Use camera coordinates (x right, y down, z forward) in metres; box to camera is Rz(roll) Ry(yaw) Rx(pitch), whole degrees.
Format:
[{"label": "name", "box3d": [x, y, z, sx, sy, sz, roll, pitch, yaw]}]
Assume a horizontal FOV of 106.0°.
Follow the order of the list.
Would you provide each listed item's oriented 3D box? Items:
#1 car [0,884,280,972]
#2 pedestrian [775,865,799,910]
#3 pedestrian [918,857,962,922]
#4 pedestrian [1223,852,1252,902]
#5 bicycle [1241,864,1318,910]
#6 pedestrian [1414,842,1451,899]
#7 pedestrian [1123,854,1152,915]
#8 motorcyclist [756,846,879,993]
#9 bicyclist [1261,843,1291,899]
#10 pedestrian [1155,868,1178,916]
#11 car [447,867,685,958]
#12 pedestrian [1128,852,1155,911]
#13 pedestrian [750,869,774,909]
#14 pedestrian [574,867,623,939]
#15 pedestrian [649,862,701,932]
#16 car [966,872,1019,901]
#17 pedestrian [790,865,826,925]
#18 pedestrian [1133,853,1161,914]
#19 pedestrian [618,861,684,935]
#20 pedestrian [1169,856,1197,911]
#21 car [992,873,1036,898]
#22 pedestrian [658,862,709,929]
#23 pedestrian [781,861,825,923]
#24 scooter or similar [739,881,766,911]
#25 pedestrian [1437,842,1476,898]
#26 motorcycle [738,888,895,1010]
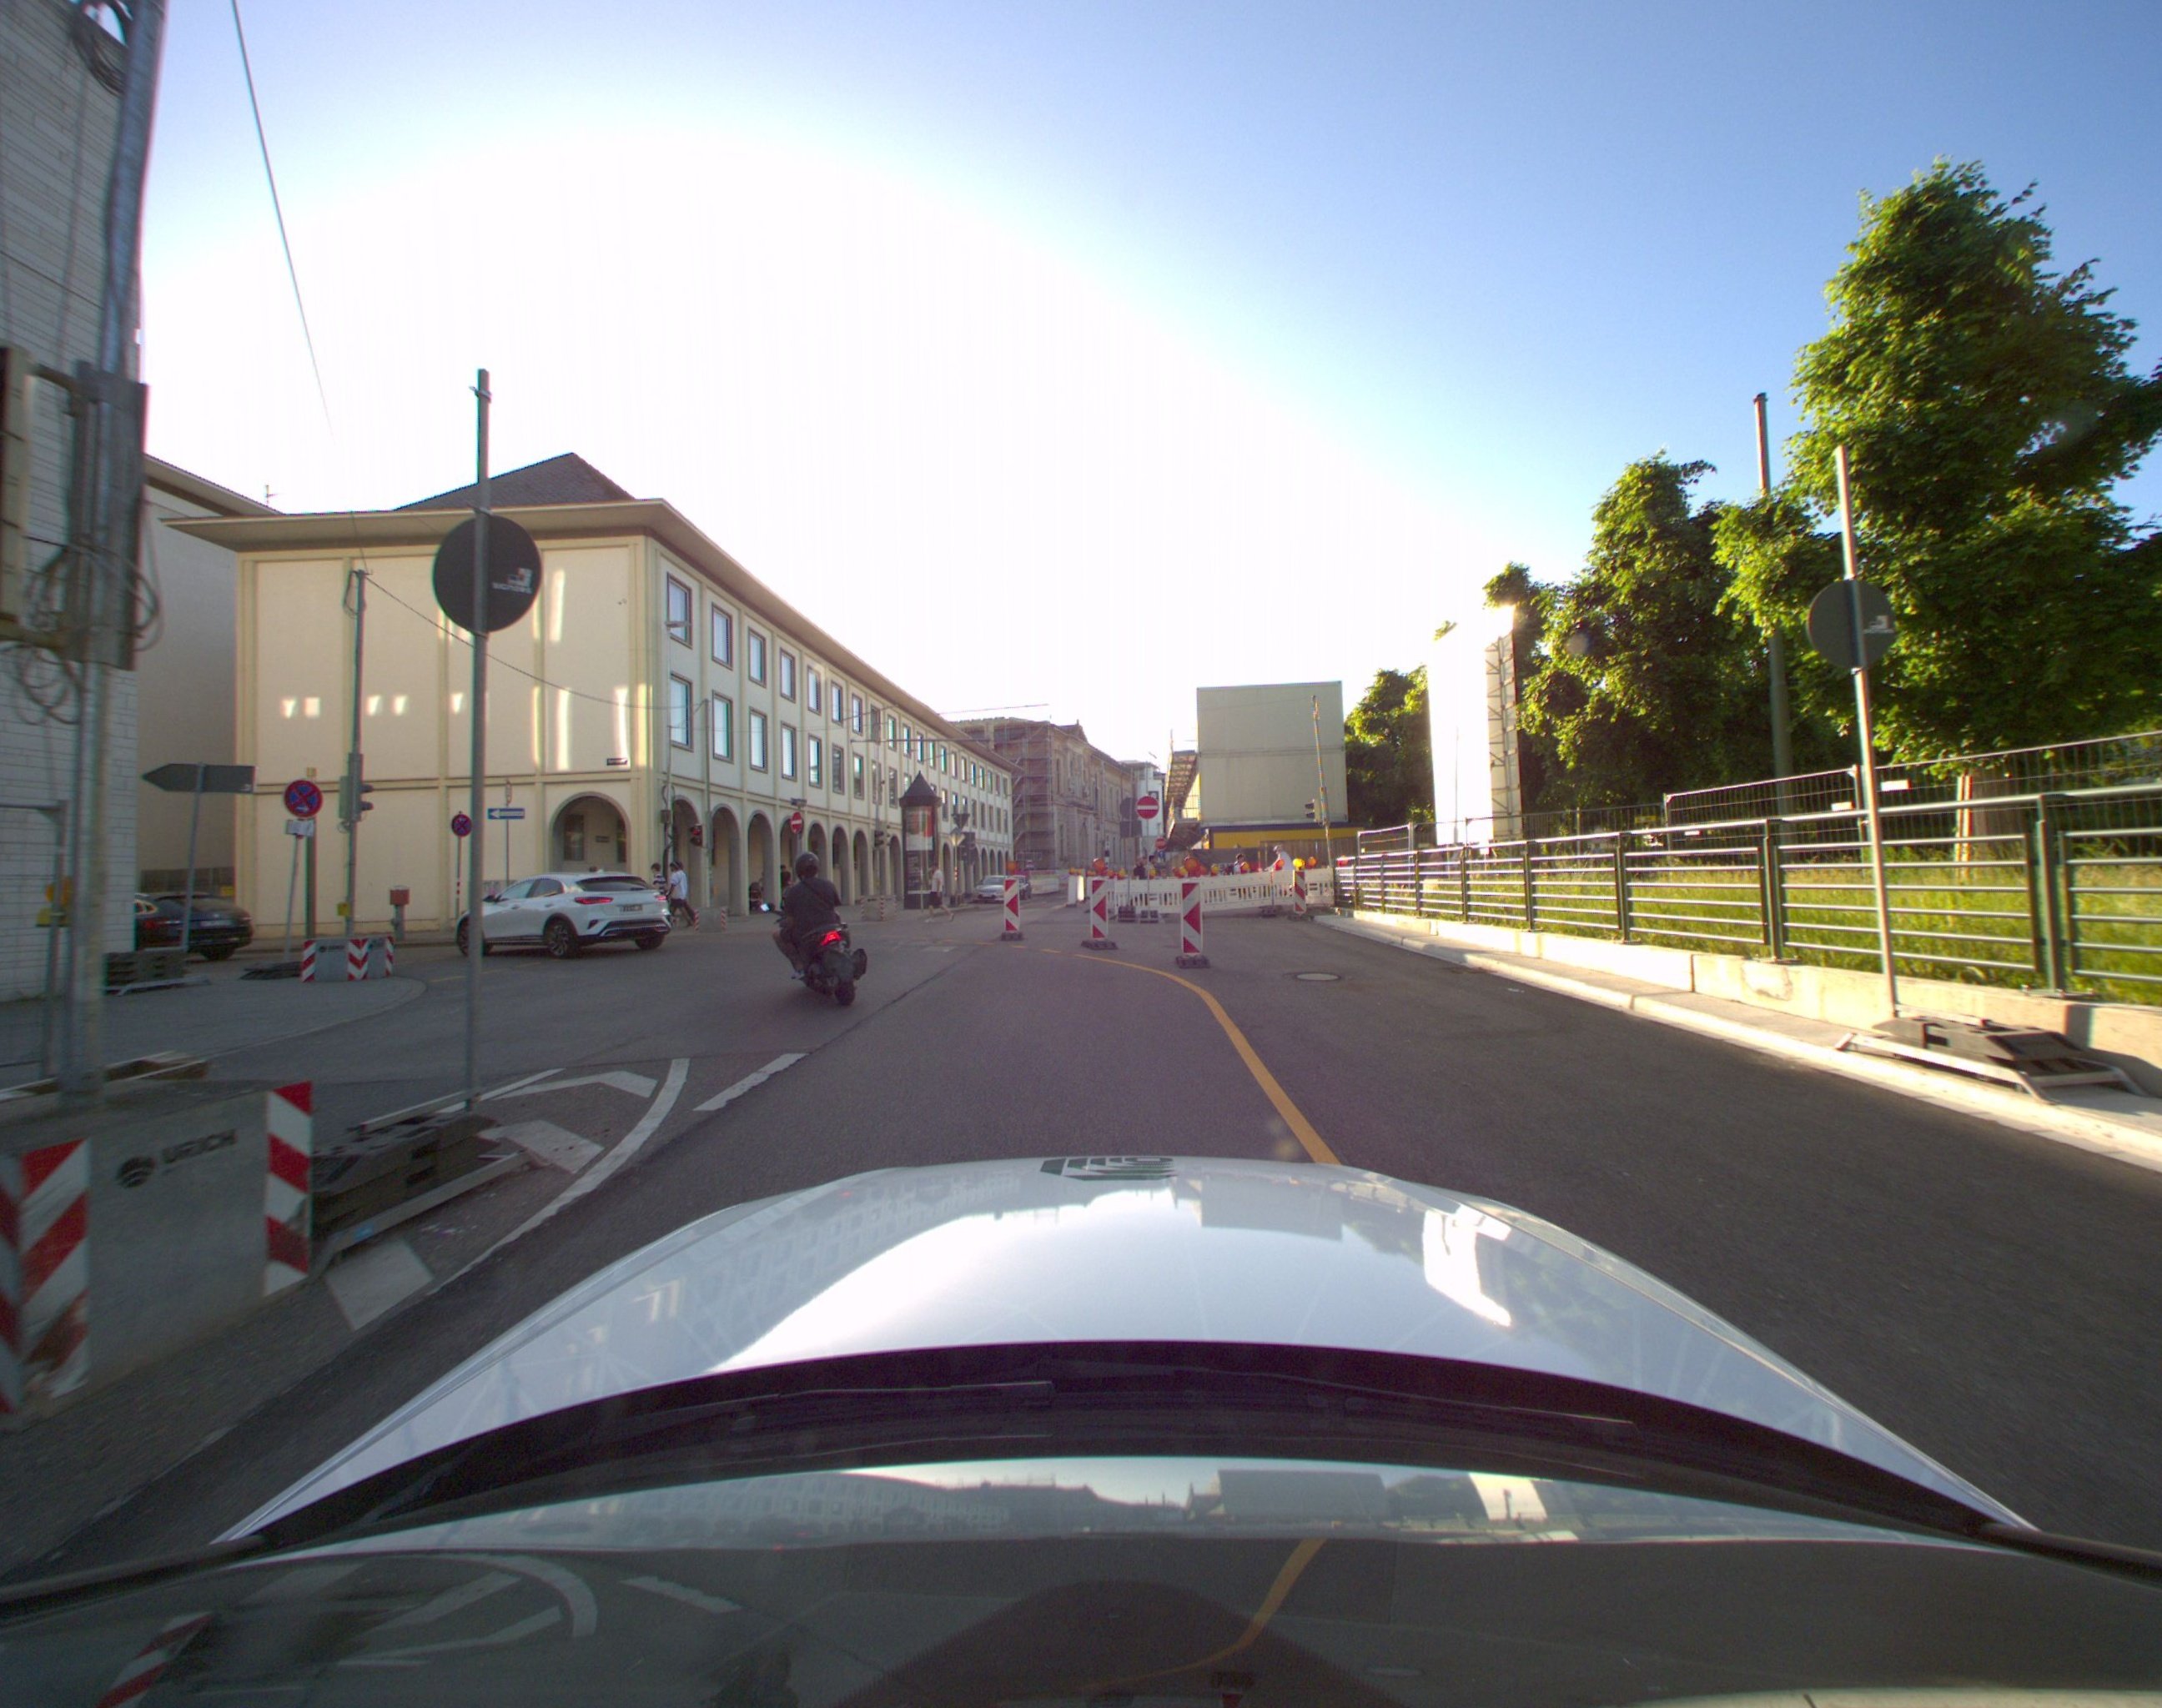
[{"label": "car", "box3d": [-19.372, 1.491, 16.825, 4.072, 1.550, 1.783, -2, -1, 6]}, {"label": "pedestrian", "box3d": [-12.517, 1.422, 34.701, 0.637, 1.840, 0.728, -1, 1, 6]}, {"label": "pedestrian", "box3d": [-3.941, 0.990, 22.861, 0.970, 1.728, 0.799, -3, -2, 2]}, {"label": "pedestrian", "box3d": [4.796, 0.708, 24.989, 0.764, 1.462, 0.667, -3, -1, 6]}, {"label": "bicycle", "box3d": [5.491, 0.912, 22.575, 1.983, 1.201, 0.477, -2, -2, 5]}, {"label": "pedestrian", "box3d": [10.294, 0.476, 23.871, 0.733, 1.604, 0.644, -3, -1, 6]}, {"label": "pedestrian", "box3d": [1.658, 0.876, 23.773, 0.733, 1.716, 0.623, -3, -1, 6]}, {"label": "motorcyclist", "box3d": [-3.094, 0.721, 9.521, 0.962, 1.559, 1.225, -2, -1, -38]}, {"label": "bicyclist", "box3d": [5.398, 0.479, 22.559, 0.698, 1.516, 0.687, -2, -2, 6]}, {"label": "pedestrian", "box3d": [2.366, 1.039, 22.596, 0.615, 1.300, 0.494, 0, -1, 5]}, {"label": "car", "box3d": [-9.522, 1.069, 15.052, 3.950, 1.472, 1.876, -3, -2, 26]}, {"label": "pedestrian", "box3d": [1.879, 0.851, 25.226, 0.733, 1.771, 0.724, -3, -1, 6]}, {"label": "pedestrian", "box3d": [-13.514, 1.491, 34.545, 0.615, 1.624, 0.728, -1, 1, 6]}, {"label": "pedestrian", "box3d": [-12.679, 1.271, 21.425, 0.770, 1.801, 0.712, -2, 1, 2]}, {"label": "pedestrian", "box3d": [-10.895, 1.144, 21.891, 0.934, 1.777, 0.712, -2, 1, 2]}, {"label": "car", "box3d": [-4.656, 1.770, 43.413, 1.914, 1.467, 4.007, -1, -3, 7]}, {"label": "pedestrian", "box3d": [-7.661, 1.133, 22.850, 0.722, 1.624, 0.620, -1, 1, 2]}, {"label": "pedestrian", "box3d": [1.980, 0.877, 24.377, 0.733, 1.771, 0.623, -3, -1, 6]}, {"label": "pedestrian", "box3d": [-11.160, 1.131, 21.183, 1.238, 1.801, 0.717, -2, 1, 2]}, {"label": "pedestrian", "box3d": [3.129, 0.900, 24.994, 0.764, 1.619, 0.667, -3, -1, 6]}, {"label": "car", "box3d": [-4.046, 1.935, 49.956, 1.914, 1.467, 4.007, -1, -3, 7]}, {"label": "pedestrian", "box3d": [-10.968, 1.127, 22.490, 0.934, 1.777, 0.712, -2, 1, 2]}, {"label": "pedestrian", "box3d": [-7.968, 1.090, 23.356, 0.961, 1.709, 0.676, -1, 1, 2]}, {"label": "scooter or similar", "box3d": [-13.587, 1.733, 33.702, 0.615, 1.157, 0.960, -1, 1, 6]}, {"label": "pedestrian", "box3d": [10.753, 0.457, 23.349, 0.749, 1.566, 0.658, -2, -1, -38]}, {"label": "motorcycle", "box3d": [-3.183, 1.026, 9.593, 0.913, 1.183, 2.549, -2, -1, -38]}]
